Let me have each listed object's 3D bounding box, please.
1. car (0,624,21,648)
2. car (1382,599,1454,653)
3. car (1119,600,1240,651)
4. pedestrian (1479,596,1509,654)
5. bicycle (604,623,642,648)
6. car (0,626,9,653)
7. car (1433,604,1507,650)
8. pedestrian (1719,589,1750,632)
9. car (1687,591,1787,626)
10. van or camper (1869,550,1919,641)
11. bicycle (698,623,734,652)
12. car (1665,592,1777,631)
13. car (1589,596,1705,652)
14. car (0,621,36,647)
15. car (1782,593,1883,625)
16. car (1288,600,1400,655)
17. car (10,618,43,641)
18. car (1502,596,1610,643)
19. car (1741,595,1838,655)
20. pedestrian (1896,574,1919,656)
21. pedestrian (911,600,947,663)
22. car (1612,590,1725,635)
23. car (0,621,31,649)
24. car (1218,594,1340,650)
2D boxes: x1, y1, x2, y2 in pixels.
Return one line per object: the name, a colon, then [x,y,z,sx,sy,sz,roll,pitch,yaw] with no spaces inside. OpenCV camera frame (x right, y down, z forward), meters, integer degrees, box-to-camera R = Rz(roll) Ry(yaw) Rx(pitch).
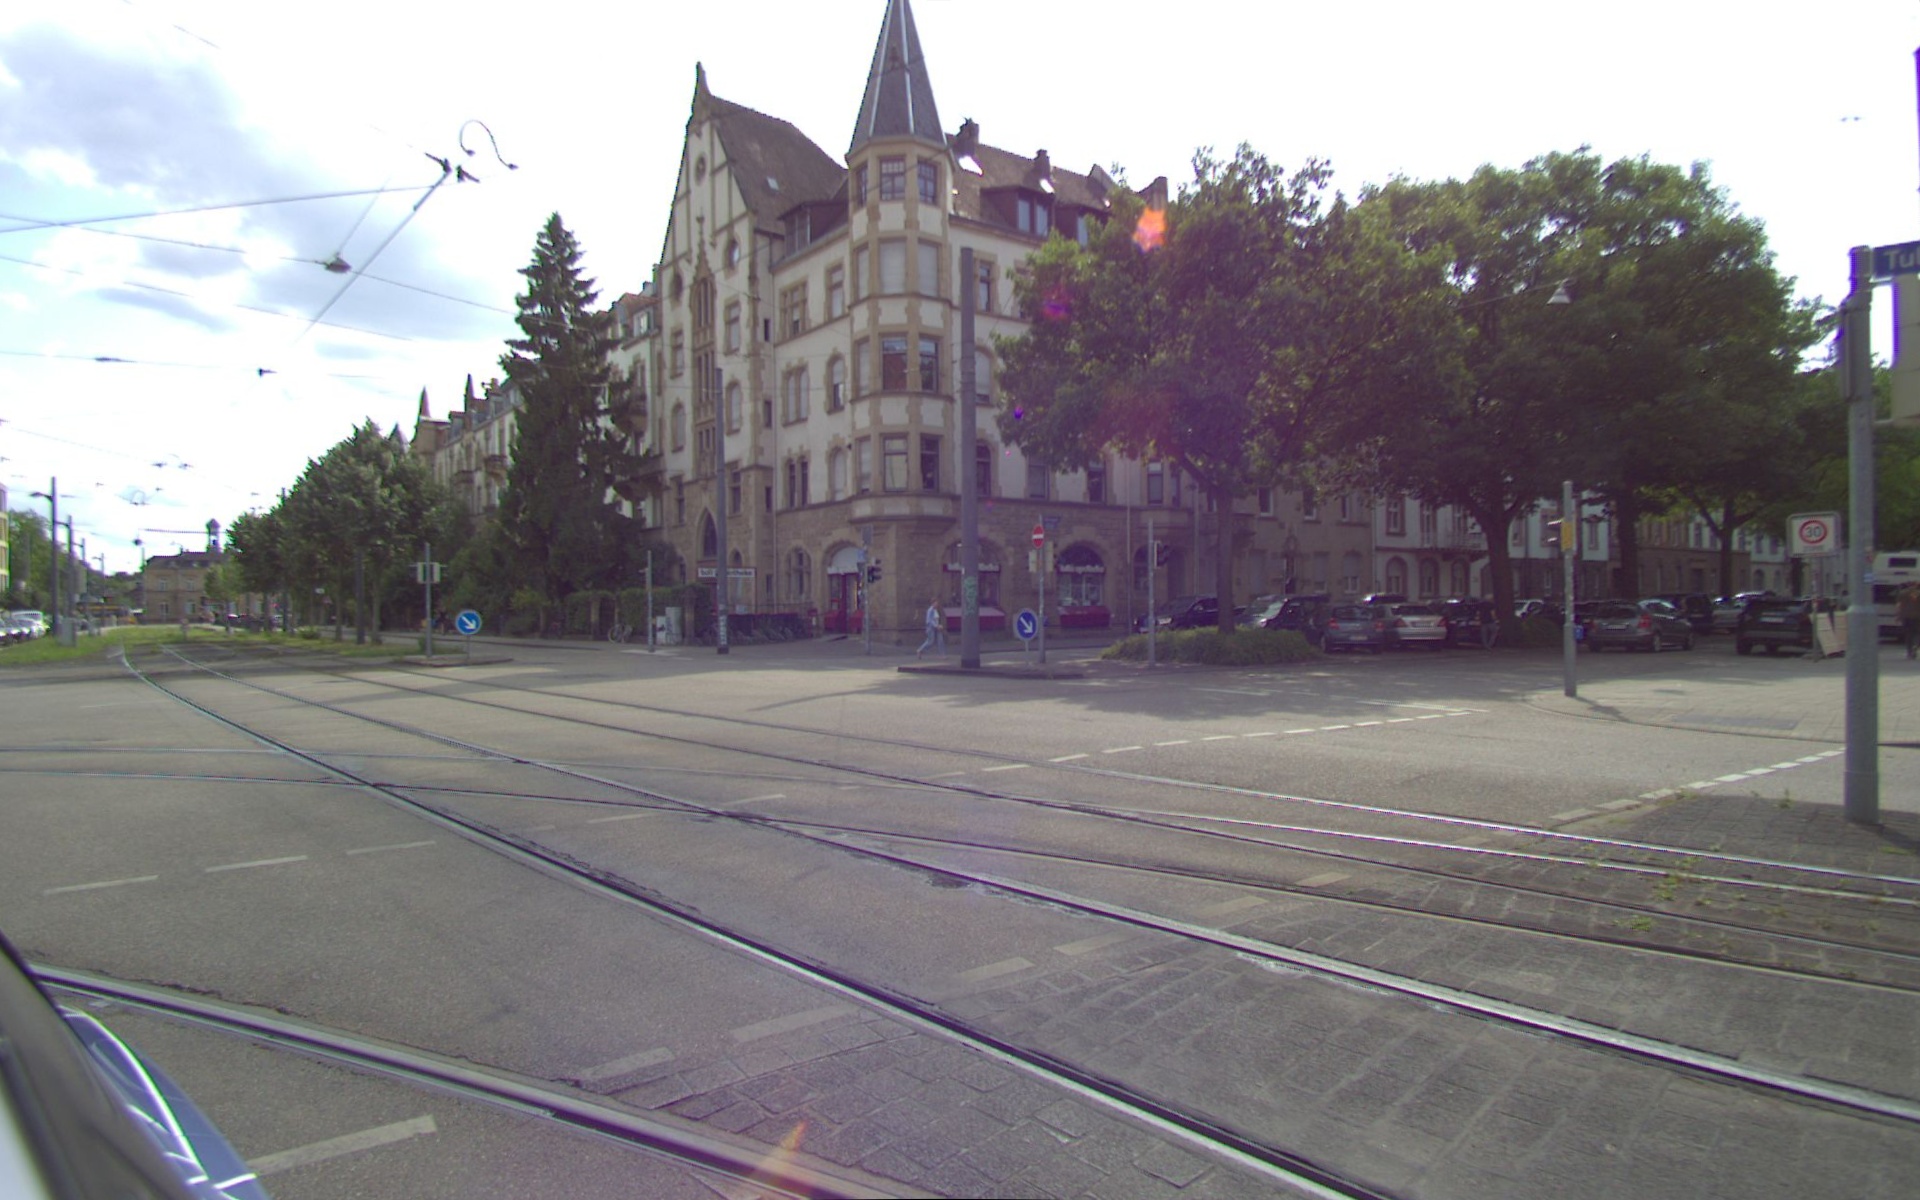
car: [-53.275,1.986,56.129,1.596,1.282,4.006,-2,0,-41]
car: [14.069,0.792,31.263,1.635,1.557,3.708,-1,-1,19]
car: [7.797,0.867,35.854,4.199,1.698,2.004,0,-1,-39]
pedestrian: [15.964,0.740,30.252,0.742,1.693,0.791,-1,-1,30]
bicycle: [-13.700,1.421,41.083,0.616,0.979,2.339,0,-1,-41]
car: [-48.890,1.991,50.704,1.596,1.282,4.006,-2,0,-41]
car: [16.374,0.826,32.627,1.612,1.408,3.548,0,0,18]
pedestrian: [33.260,0.449,43.478,0.886,1.805,0.950,-1,-1,30]
car: [39.588,0.436,51.654,3.756,1.673,1.980,-1,-1,30]
van or camper: [33.471,-0.143,35.103,4.567,3.015,2.157,0,-1,-39]
bicycle: [-8.879,1.344,36.785,0.582,0.979,1.632,0,1,-41]
car: [34.132,0.516,45.548,3.756,1.673,1.980,-1,-1,30]
car: [20.415,0.710,30.041,3.670,1.557,1.678,0,-2,-37]
car: [-61.474,2.202,66.087,1.556,1.570,4.006,0,-1,-41]
car: [46.980,0.498,54.615,3.756,1.673,1.980,-1,-1,30]
car: [11.524,0.794,30.688,1.974,1.557,4.223,0,-1,3]
car: [-66.726,2.092,72.364,1.621,1.632,3.718,0,-1,-41]
car: [21.845,0.701,37.293,1.976,1.608,3.990,-1,-1,8]
car: [22.842,0.644,27.830,3.675,1.557,1.558,0,-1,-43]
pedestrian: [22.111,0.344,23.316,0.757,1.846,0.993,-2,-2,43]
pedestrian: [-0.876,0.899,29.136,0.924,1.753,0.768,-1,-1,6]
car: [30.098,0.546,43.136,3.756,1.837,1.980,-1,-1,30]
car: [-56.967,2.074,60.714,1.713,1.592,4.006,0,-1,-41]
car: [10.920,0.739,34.603,3.934,1.835,2.005,1,-1,-36]
